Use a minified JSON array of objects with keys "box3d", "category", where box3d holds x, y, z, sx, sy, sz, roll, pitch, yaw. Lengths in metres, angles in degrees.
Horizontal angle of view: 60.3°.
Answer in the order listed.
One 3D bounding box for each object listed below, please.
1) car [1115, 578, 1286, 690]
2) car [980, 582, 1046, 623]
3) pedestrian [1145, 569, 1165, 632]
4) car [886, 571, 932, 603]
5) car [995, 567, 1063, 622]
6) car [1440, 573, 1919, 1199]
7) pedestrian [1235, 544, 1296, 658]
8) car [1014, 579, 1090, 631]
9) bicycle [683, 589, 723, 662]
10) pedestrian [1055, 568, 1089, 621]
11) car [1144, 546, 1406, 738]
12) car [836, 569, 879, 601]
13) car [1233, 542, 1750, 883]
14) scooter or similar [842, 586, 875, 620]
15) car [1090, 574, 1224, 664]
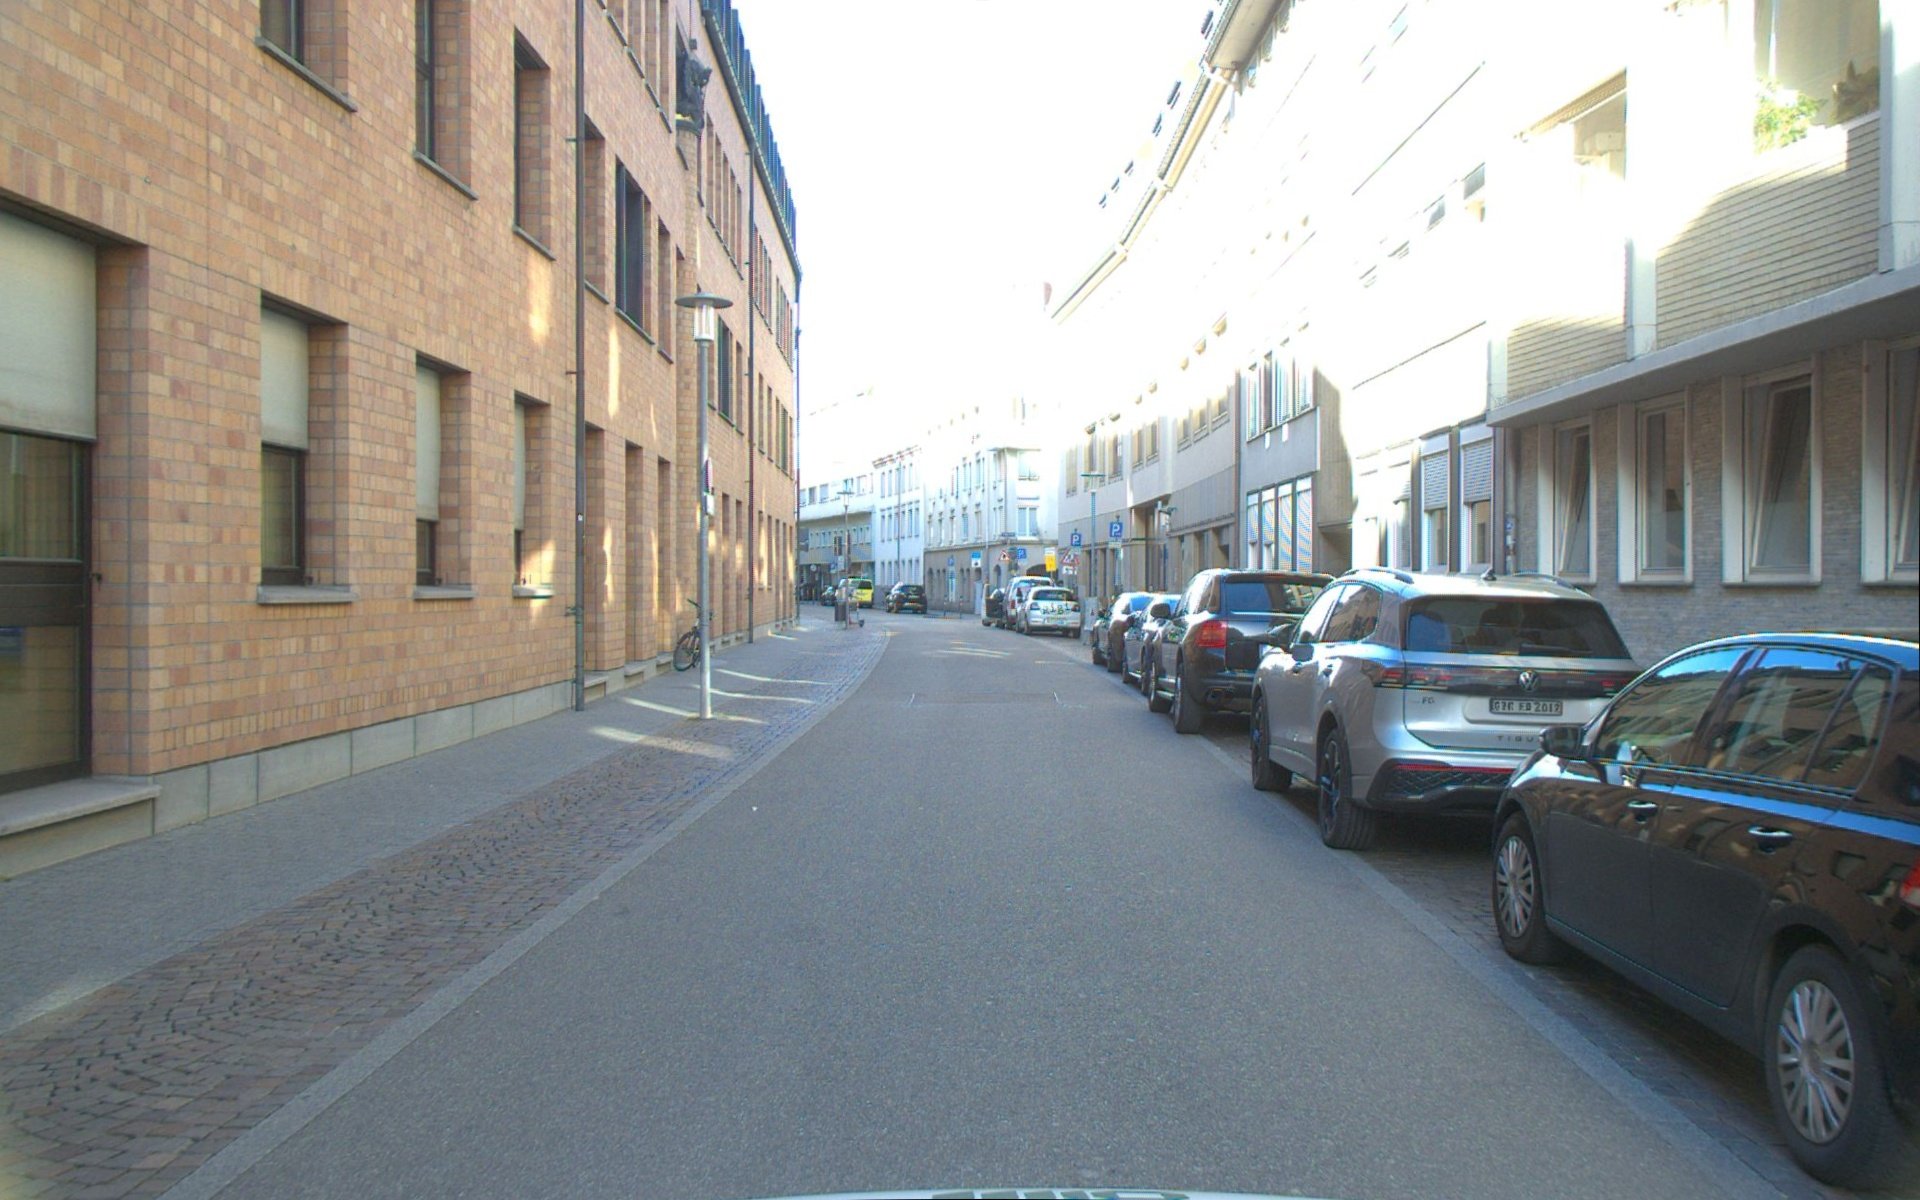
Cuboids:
[{"box3d":[3.480,0.429,24.750,1.770,1.437,4.790,2,1,-1],"category":"car"},{"box3d":[2.026,0.067,64.097,1.853,1.544,4.055,0,1,-9],"category":"car"},{"box3d":[5.283,0.014,44.771,0.470,1.683,0.539,-1,1,12],"category":"pedestrian"},{"box3d":[-2.907,-0.740,93.789,1.933,1.721,4.090,1,1,-12],"category":"car"},{"box3d":[2.371,-0.213,58.161,1.794,1.822,5.209,1,0,-4],"category":"car"},{"box3d":[3.207,0.720,5.746,1.785,1.531,4.601,3,1,1],"category":"car"},{"box3d":[4.852,0.007,26.297,0.772,1.751,0.746,-2,1,0],"category":"pedestrian"},{"box3d":[2.841,0.119,51.880,1.804,1.503,4.164,2,1,-5],"category":"car"},{"box3d":[-4.464,0.425,28.798,0.619,1.182,1.801,3,1,-8],"category":"bicycle"},{"box3d":[3.926,-0.196,57.920,1.021,1.833,1.198,0,0,-4],"category":"pedestrian"},{"box3d":[3.335,0.368,18.566,2.060,1.817,5.053,1,1,1],"category":"car"},{"box3d":[-6.838,-1.012,109.904,2.019,2.049,4.157,0,1,-16],"category":"car"},{"box3d":[3.205,0.558,11.164,1.952,1.731,4.844,2,1,1],"category":"car"},{"box3d":[-3.793,0.114,61.950,0.683,1.238,1.357,-1,1,23],"category":"scooter or similar"},{"box3d":[3.561,0.285,30.784,1.855,1.478,5.226,1,1,0],"category":"car"}]
